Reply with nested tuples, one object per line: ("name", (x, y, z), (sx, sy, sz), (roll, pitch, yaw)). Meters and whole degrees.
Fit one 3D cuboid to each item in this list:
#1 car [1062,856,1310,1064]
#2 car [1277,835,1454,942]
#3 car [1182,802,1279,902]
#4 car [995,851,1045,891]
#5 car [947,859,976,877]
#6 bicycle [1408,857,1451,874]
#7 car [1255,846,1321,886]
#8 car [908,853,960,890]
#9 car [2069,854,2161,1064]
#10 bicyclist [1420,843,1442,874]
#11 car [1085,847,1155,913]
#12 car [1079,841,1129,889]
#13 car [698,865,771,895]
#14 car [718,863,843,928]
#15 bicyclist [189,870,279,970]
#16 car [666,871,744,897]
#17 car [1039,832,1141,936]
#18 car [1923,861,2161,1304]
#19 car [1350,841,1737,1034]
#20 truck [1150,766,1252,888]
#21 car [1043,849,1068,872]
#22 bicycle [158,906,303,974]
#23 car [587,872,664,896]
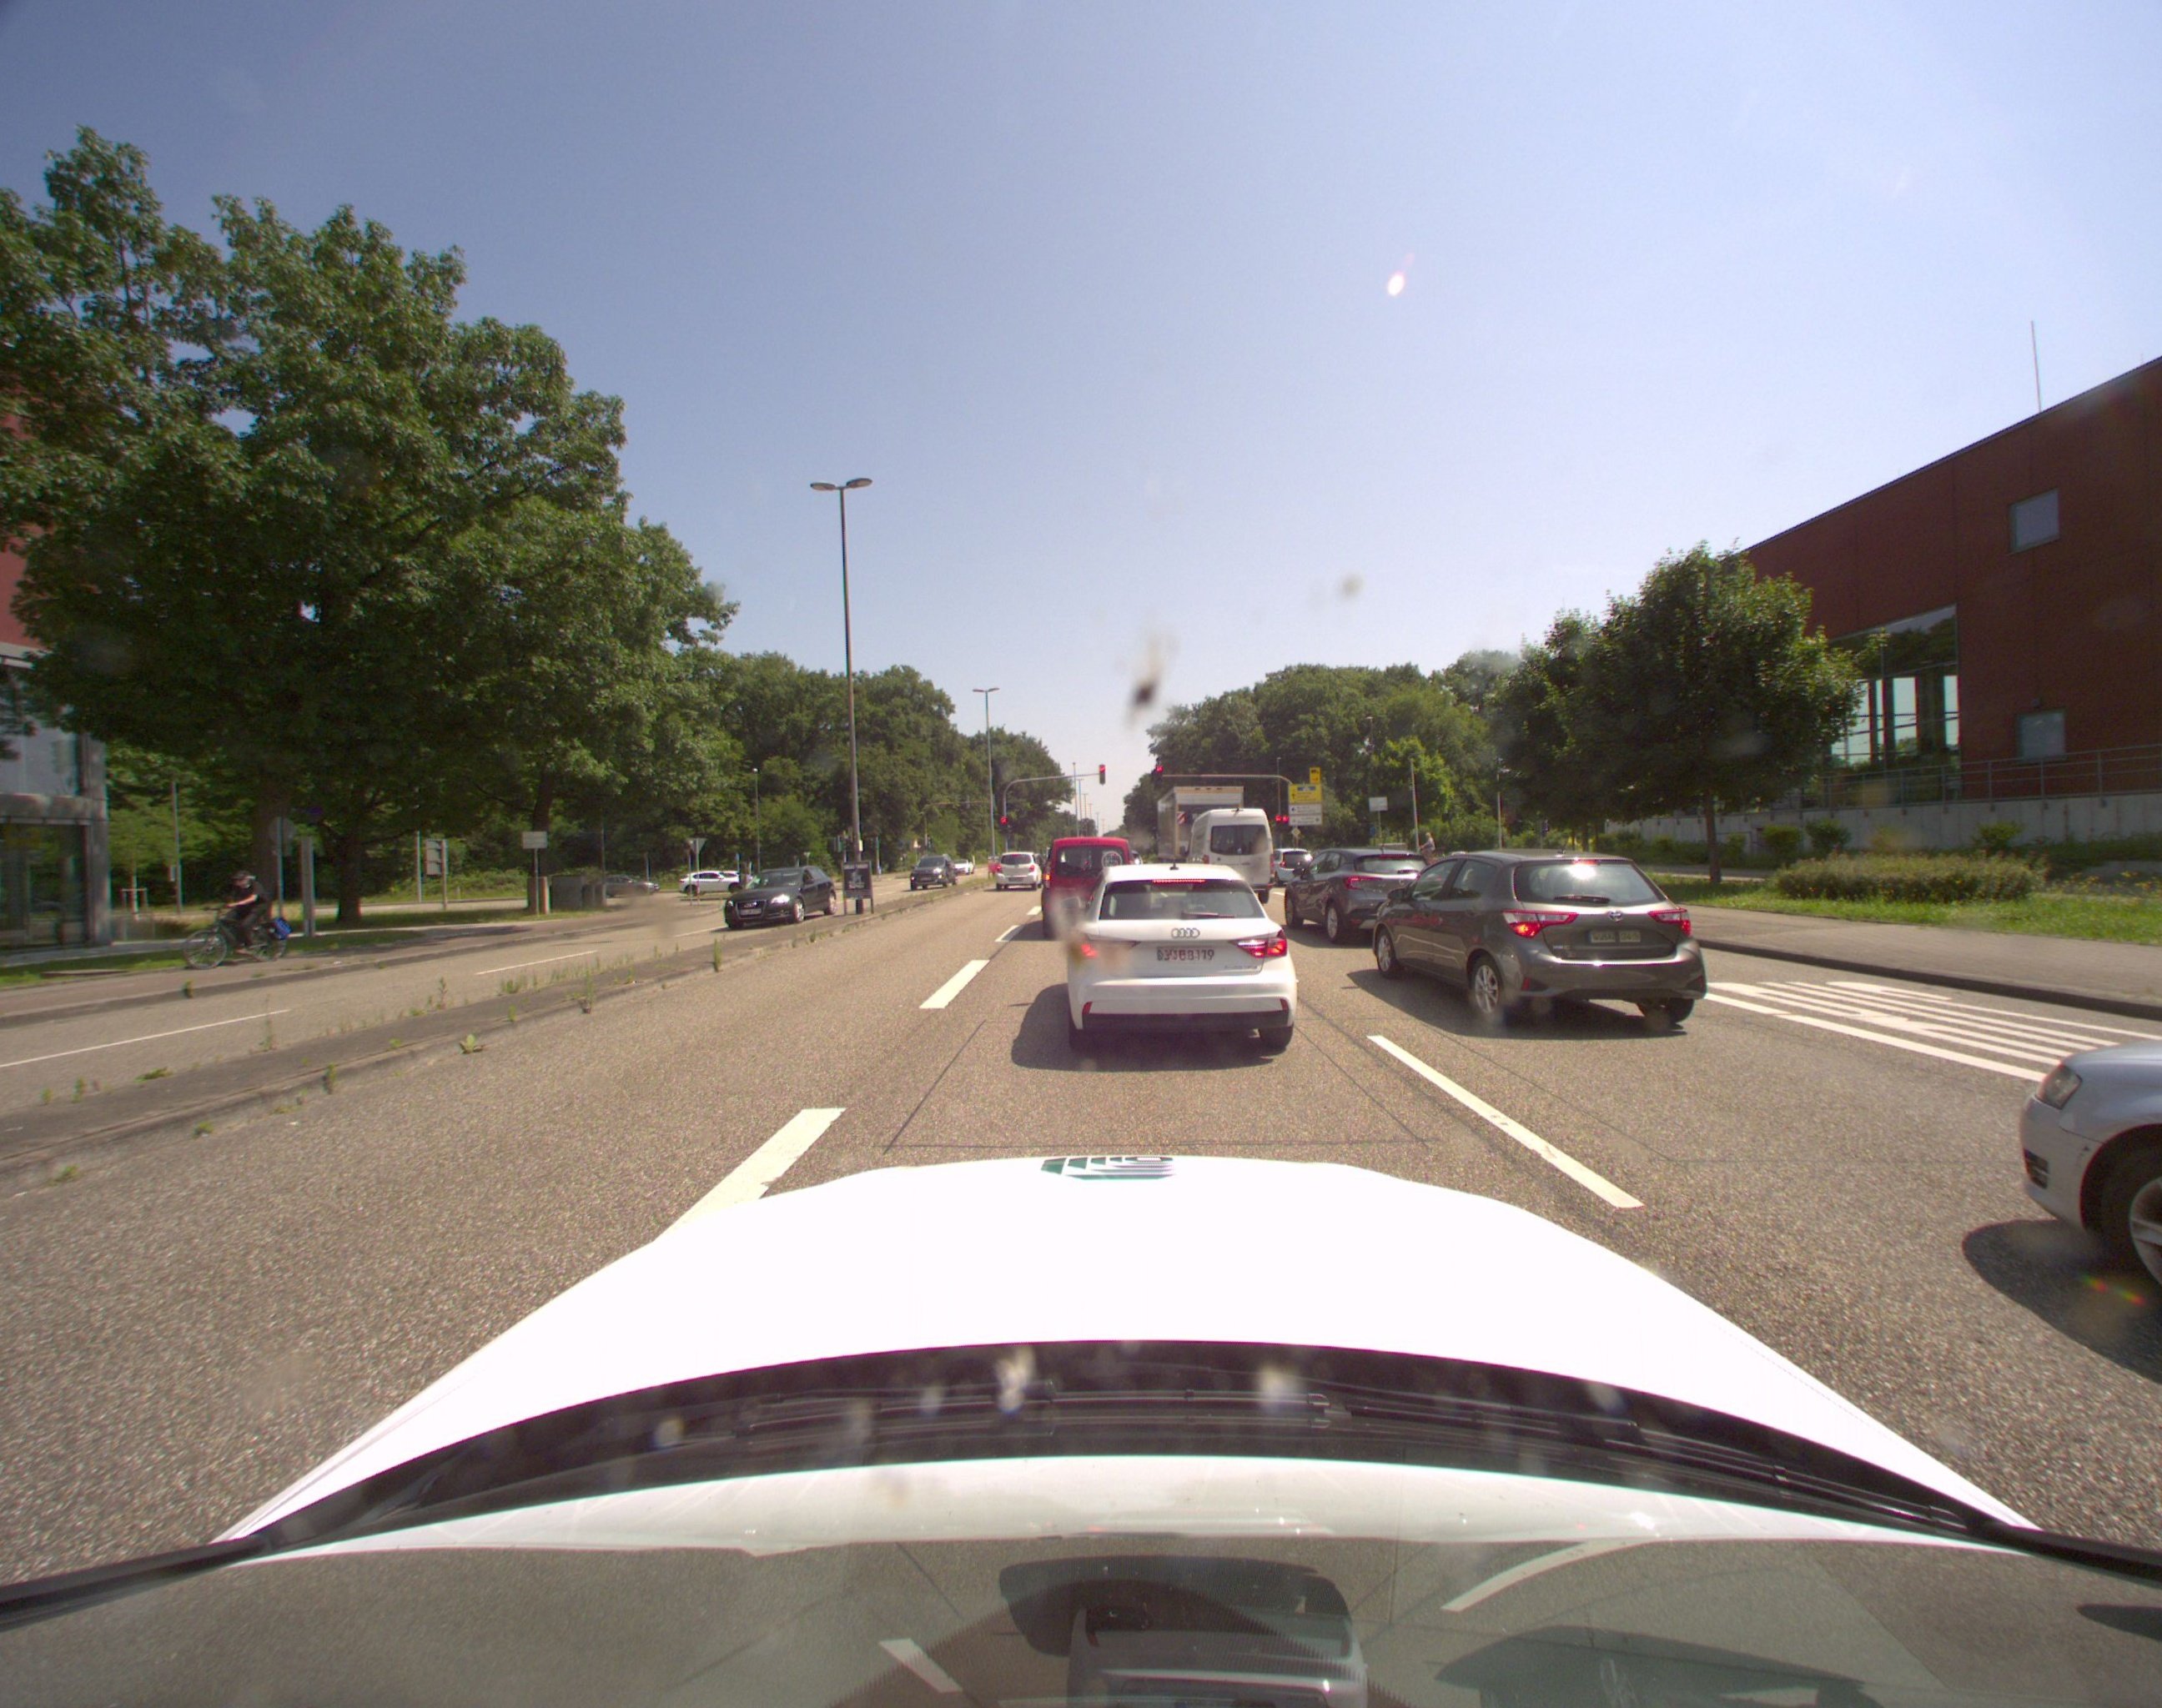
("car", (0.740, 0.742, 7.711), (1.706, 1.386, 4.091), (-1, 0, 0))
("car", (4.821, 0.513, 14.424), (1.706, 1.593, 4.091), (-1, 0, 0))
("car", (4.328, -0.064, 24.343), (2.024, 2.644, 4.846), (-1, 0, 1))
("car", (-2.465, 0.646, 33.560), (1.706, 1.492, 4.091), (-1, 0, 0))
("car", (-10.190, 1.183, 69.629), (1.712, 1.262, 4.302), (-4, 0, 1))
("bicycle", (17.136, 0.563, 40.046), (1.810, 0.766, 0.602), (-2, 0, 9))
("car", (8.521, 0.454, 33.798), (1.706, 1.546, 4.091), (-1, 0, 0))
("car", (-7.120, 0.806, 39.798), (1.681, 1.600, 3.885), (-5, 0, 0))
("car", (7.824, 0.703, 3.752), (1.631, 1.371, 4.148), (0, 0, 2))
("bicyclist", (17.181, 0.217, 40.028), (0.821, 1.439, 0.601), (-2, 0, 9))
("car", (0.992, 0.654, 22.555), (1.706, 1.631, 4.091), (-1, 0, 0))
("car", (0.798, 0.381, 30.326), (1.706, 1.631, 4.091), (-1, 0, 0))
("car", (-24.880, 1.827, 58.608), (4.366, 1.681, 1.806), (-6, 0, -7))
("car", (-7.676, 1.012, 21.232), (1.673, 1.339, 3.999), (-5, 0, 0))
("bicyclist", (-15.814, 1.204, 15.237), (0.647, 1.770, 0.928), (-2, 0, 1))
("car", (-25.185, 1.994, 54.674), (4.366, 1.681, 1.806), (0, -1, -7))
("car", (0.168, 0.501, 15.972), (1.706, 1.748, 4.091), (-1, 0, 0))
("car", (4.196, 0.716, 1.204), (1.706, 1.362, 4.091), (0, 0, 0))
("car", (4.332, 0.655, 8.481), (1.706, 1.478, 4.091), (2, 0, 0))
("truck", (4.888, -1.029, 35.670), (3.077, 4.434, 11.585), (-1, 0, 2))
("car", (-2.441, 0.636, 76.585), (1.992, 2.013, 3.991), (-2, 0, -7))
("bicycle", (-15.796, 1.570, 15.202), (0.652, 1.051, 1.885), (-2, 0, 2))
("car", (-32.333, 2.117, 57.949), (4.370, 1.681, 1.804), (0, -1, -10))
